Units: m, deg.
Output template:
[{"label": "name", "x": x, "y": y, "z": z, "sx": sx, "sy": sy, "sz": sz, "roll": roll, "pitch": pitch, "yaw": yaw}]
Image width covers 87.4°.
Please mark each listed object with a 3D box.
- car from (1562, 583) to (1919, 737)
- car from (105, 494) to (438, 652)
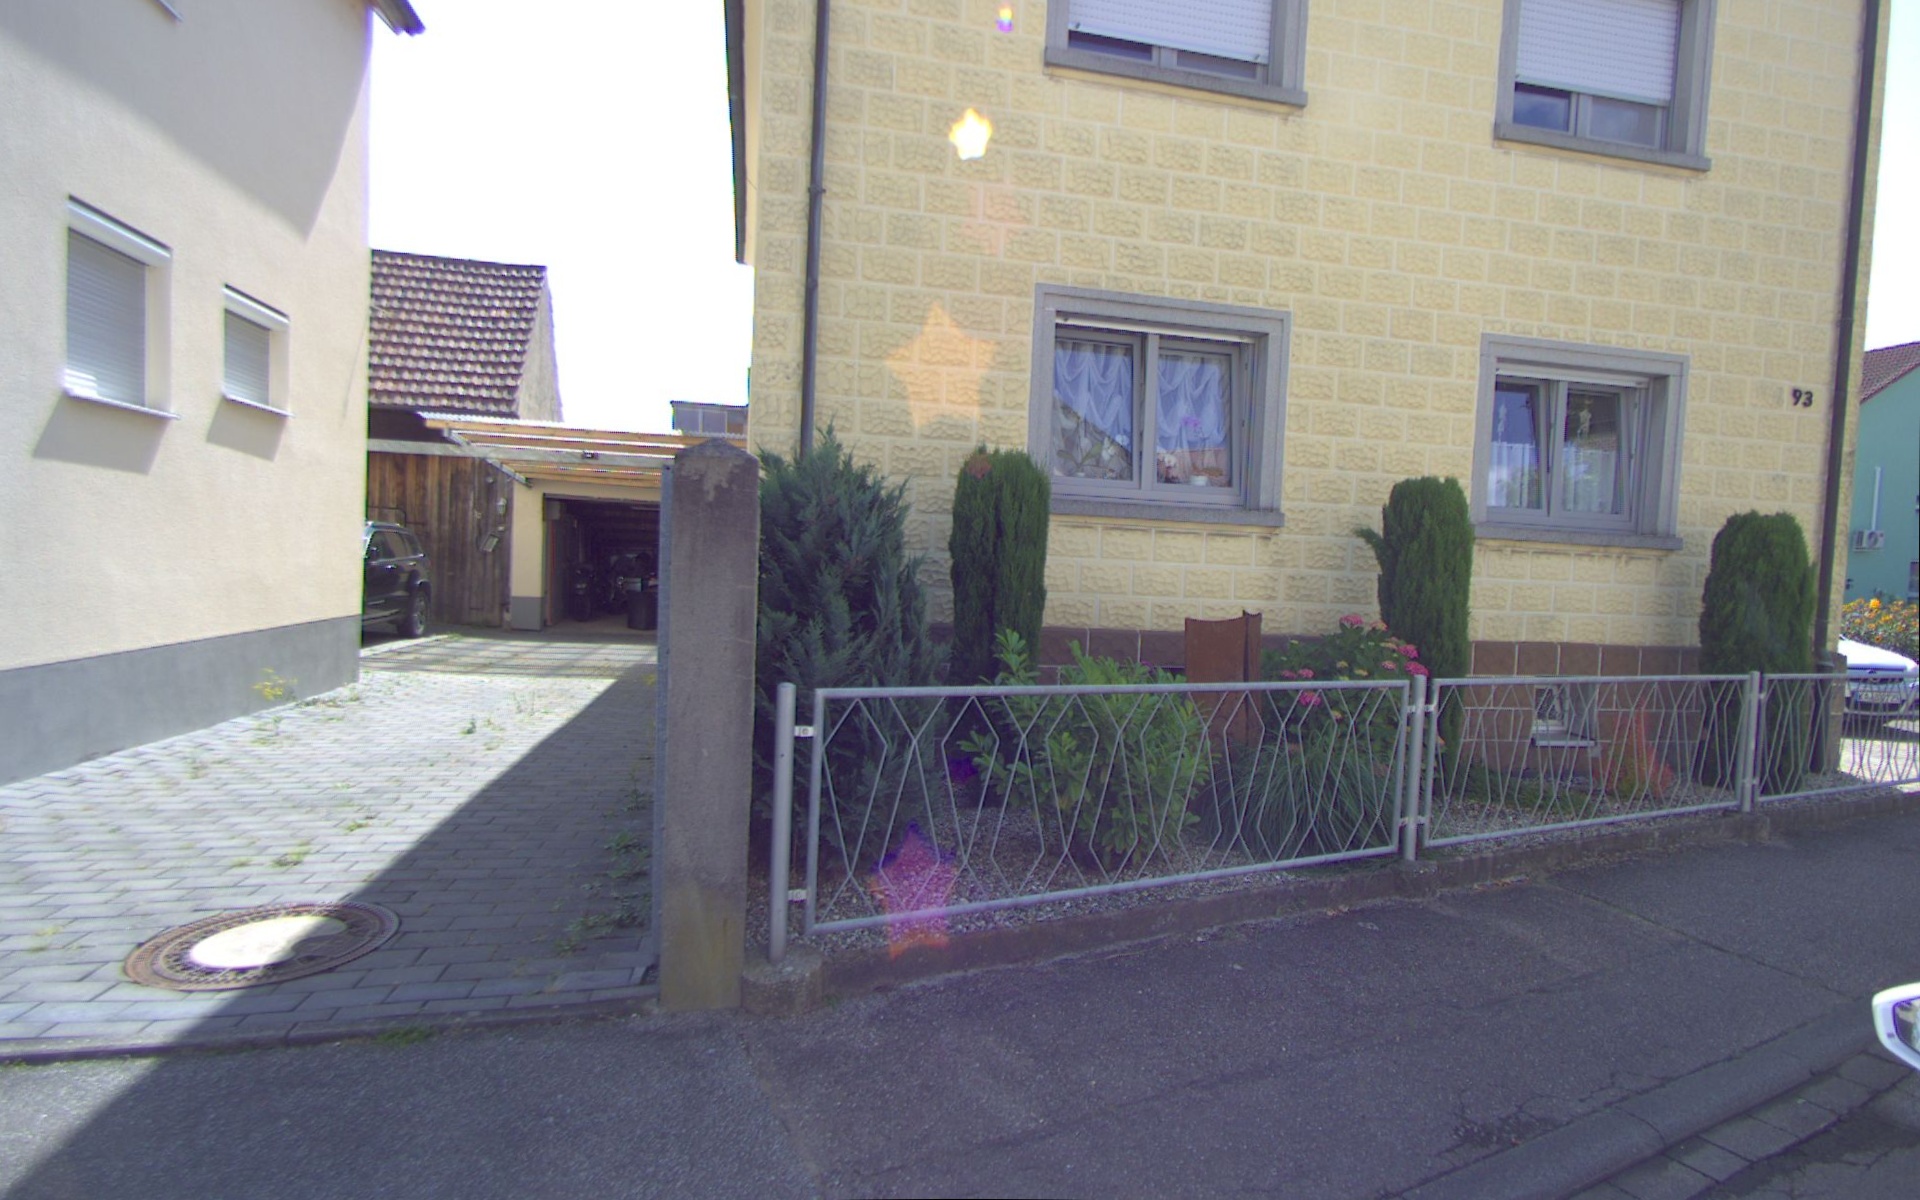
[{"label": "car", "x": 9.968, "y": 0.615, "z": 12.961, "sx": 1.756, "sy": 1.505, "sz": 4.473, "roll": 3, "pitch": 2, "yaw": 2}, {"label": "car", "x": -9.399, "y": -0.373, "z": 14.243, "sx": 1.962, "sy": 1.762, "sz": 4.238, "roll": 4, "pitch": 1, "yaw": -5}]
